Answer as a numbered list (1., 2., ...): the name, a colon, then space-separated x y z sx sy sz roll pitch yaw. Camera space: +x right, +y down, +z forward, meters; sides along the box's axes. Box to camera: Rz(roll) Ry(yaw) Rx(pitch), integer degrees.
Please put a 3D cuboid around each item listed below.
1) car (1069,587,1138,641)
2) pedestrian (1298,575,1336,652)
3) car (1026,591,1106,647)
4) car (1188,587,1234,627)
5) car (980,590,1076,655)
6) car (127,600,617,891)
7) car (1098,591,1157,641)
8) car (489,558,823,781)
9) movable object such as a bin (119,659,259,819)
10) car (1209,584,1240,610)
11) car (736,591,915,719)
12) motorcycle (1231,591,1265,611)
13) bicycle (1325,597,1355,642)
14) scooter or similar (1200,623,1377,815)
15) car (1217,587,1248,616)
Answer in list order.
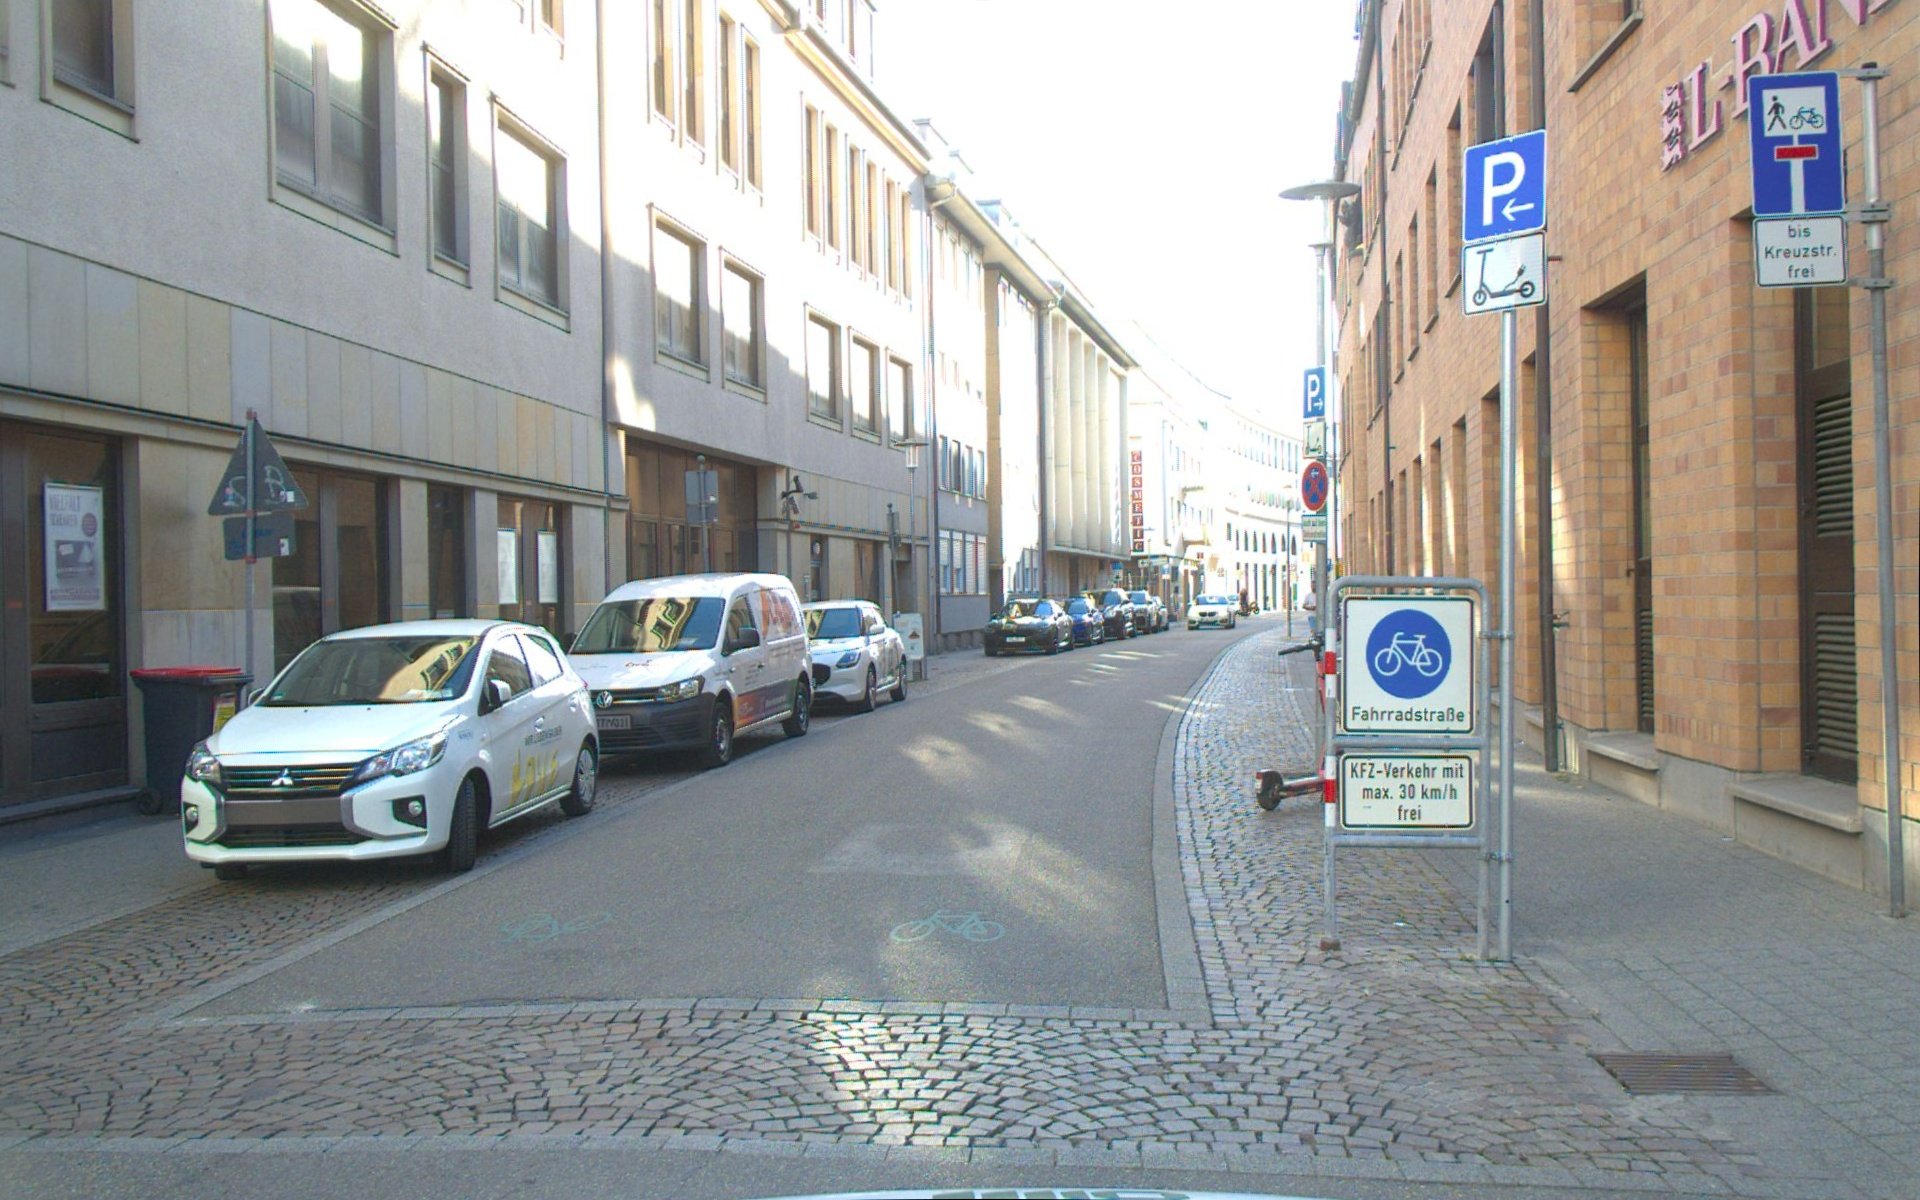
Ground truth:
1. car: 4.868 0.438 55.639 1.849 1.705 4.558 -2 0 10
2. pedestrian: 8.292 0.304 38.410 0.744 1.746 0.822 -3 0 10
3. car: 3.240 0.545 49.890 1.849 1.556 4.344 -2 0 10
4. car: 10.321 0.277 67.892 1.678 1.544 4.164 -2 0 10
5. car: 1.858 0.559 43.732 1.849 1.556 4.733 -2 0 10
6. car: -3.656 0.812 11.065 1.701 1.518 3.801 -3 0 3
7. car: 6.422 0.569 63.104 1.849 1.772 4.394 -2 0 10
8. car: -2.893 0.600 16.957 1.859 1.890 4.738 -3 0 8
9. movable object such as a bin: -5.696 1.016 12.246 0.721 1.120 0.591 1 -1 5
10. car: 17.177 -0.199 107.280 1.699 1.634 3.535 0 0 15
11. car: -1.794 0.702 23.209 1.634 1.548 3.779 -3 0 8
12. motorcycle: 20.605 0.077 118.374 2.340 1.340 0.863 -2 0 14
13. bicycle: 10.133 0.500 44.166 0.538 1.122 1.984 -4 0 8
14. scooter or similar: 2.379 0.820 11.916 1.407 1.257 0.530 -1 1 -43
15. car: 15.364 0.057 93.249 1.604 1.544 4.164 -2 0 10
